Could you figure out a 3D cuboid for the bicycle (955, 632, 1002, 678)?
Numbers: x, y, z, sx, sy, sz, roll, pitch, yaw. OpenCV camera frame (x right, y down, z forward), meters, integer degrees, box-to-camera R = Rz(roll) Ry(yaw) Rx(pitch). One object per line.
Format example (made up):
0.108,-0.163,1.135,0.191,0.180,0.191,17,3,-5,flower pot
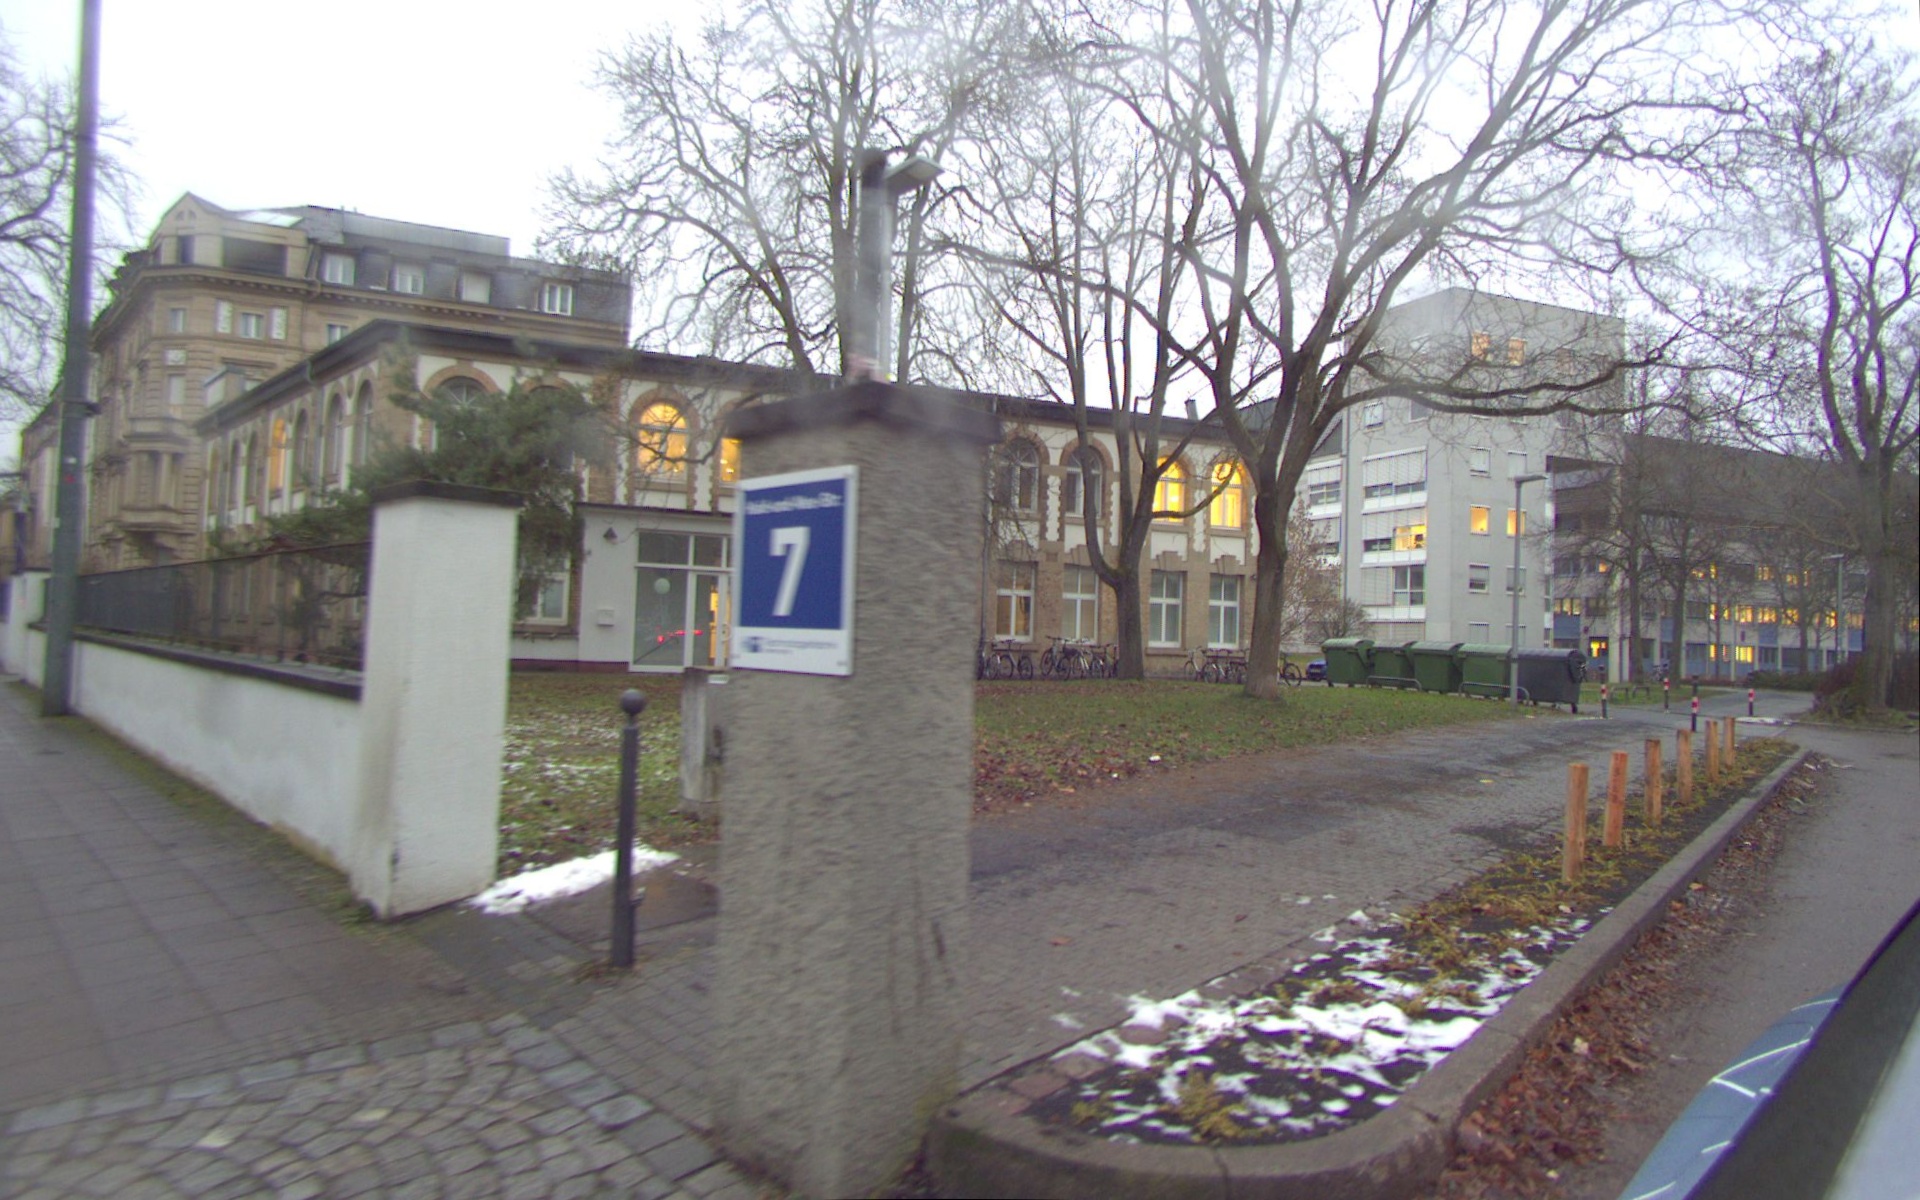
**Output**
0.456,1.423,26.480,0.561,1.029,2.146,2,1,-17,bicycle

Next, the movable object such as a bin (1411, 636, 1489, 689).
12.220,1.545,25.272,0.967,1.241,1.441,2,-1,-23,movable object such as a bin

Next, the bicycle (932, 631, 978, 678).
-0.148,1.391,26.276,0.561,1.063,2.146,2,1,-17,bicycle

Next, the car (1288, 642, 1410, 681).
14.954,2.354,38.976,3.916,1.297,2.004,2,-1,-13,car

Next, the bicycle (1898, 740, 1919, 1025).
4.974,1.267,4.717,1.861,1.147,0.729,3,-2,-42,bicycle

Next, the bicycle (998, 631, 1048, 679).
1.650,1.429,26.854,0.561,1.172,2.146,2,-1,-17,bicycle

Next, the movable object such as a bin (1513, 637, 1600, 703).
13.302,1.541,22.578,1.043,1.333,1.324,3,0,-36,movable object such as a bin

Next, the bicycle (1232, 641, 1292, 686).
8.781,1.834,29.514,0.561,1.172,2.146,2,-1,-17,bicycle

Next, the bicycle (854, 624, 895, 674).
-2.171,1.209,25.433,0.561,1.172,2.146,2,-1,-17,bicycle

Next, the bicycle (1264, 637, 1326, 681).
9.772,1.699,29.572,0.561,1.172,2.146,2,-1,-17,bicycle

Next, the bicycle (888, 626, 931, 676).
-1.306,1.276,25.709,0.561,1.172,2.146,2,-1,-17,bicycle

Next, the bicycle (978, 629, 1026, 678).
1.074,1.387,26.664,0.561,1.172,2.146,2,-1,-17,bicycle

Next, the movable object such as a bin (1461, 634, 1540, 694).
12.736,1.489,23.892,0.967,1.331,1.310,2,-1,-23,movable object such as a bin

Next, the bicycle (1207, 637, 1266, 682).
7.911,1.679,29.087,0.561,1.172,2.146,2,-1,-17,bicycle

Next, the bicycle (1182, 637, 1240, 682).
7.097,1.676,28.775,0.561,1.172,2.146,2,-1,-17,bicycle

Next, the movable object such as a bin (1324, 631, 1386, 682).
10.888,1.543,27.947,0.967,1.331,1.266,2,-1,-23,movable object such as a bin

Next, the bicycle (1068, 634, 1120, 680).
3.625,1.531,27.591,0.561,1.125,2.146,2,-1,-17,bicycle

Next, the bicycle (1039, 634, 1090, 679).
2.785,1.509,27.286,0.561,1.106,2.146,2,-1,-17,bicycle

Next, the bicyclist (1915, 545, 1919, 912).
4.997,0.614,4.737,0.758,1.711,0.705,3,-2,-42,bicyclist

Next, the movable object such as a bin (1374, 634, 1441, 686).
11.741,1.565,26.581,0.967,1.296,1.254,2,-1,-23,movable object such as a bin
